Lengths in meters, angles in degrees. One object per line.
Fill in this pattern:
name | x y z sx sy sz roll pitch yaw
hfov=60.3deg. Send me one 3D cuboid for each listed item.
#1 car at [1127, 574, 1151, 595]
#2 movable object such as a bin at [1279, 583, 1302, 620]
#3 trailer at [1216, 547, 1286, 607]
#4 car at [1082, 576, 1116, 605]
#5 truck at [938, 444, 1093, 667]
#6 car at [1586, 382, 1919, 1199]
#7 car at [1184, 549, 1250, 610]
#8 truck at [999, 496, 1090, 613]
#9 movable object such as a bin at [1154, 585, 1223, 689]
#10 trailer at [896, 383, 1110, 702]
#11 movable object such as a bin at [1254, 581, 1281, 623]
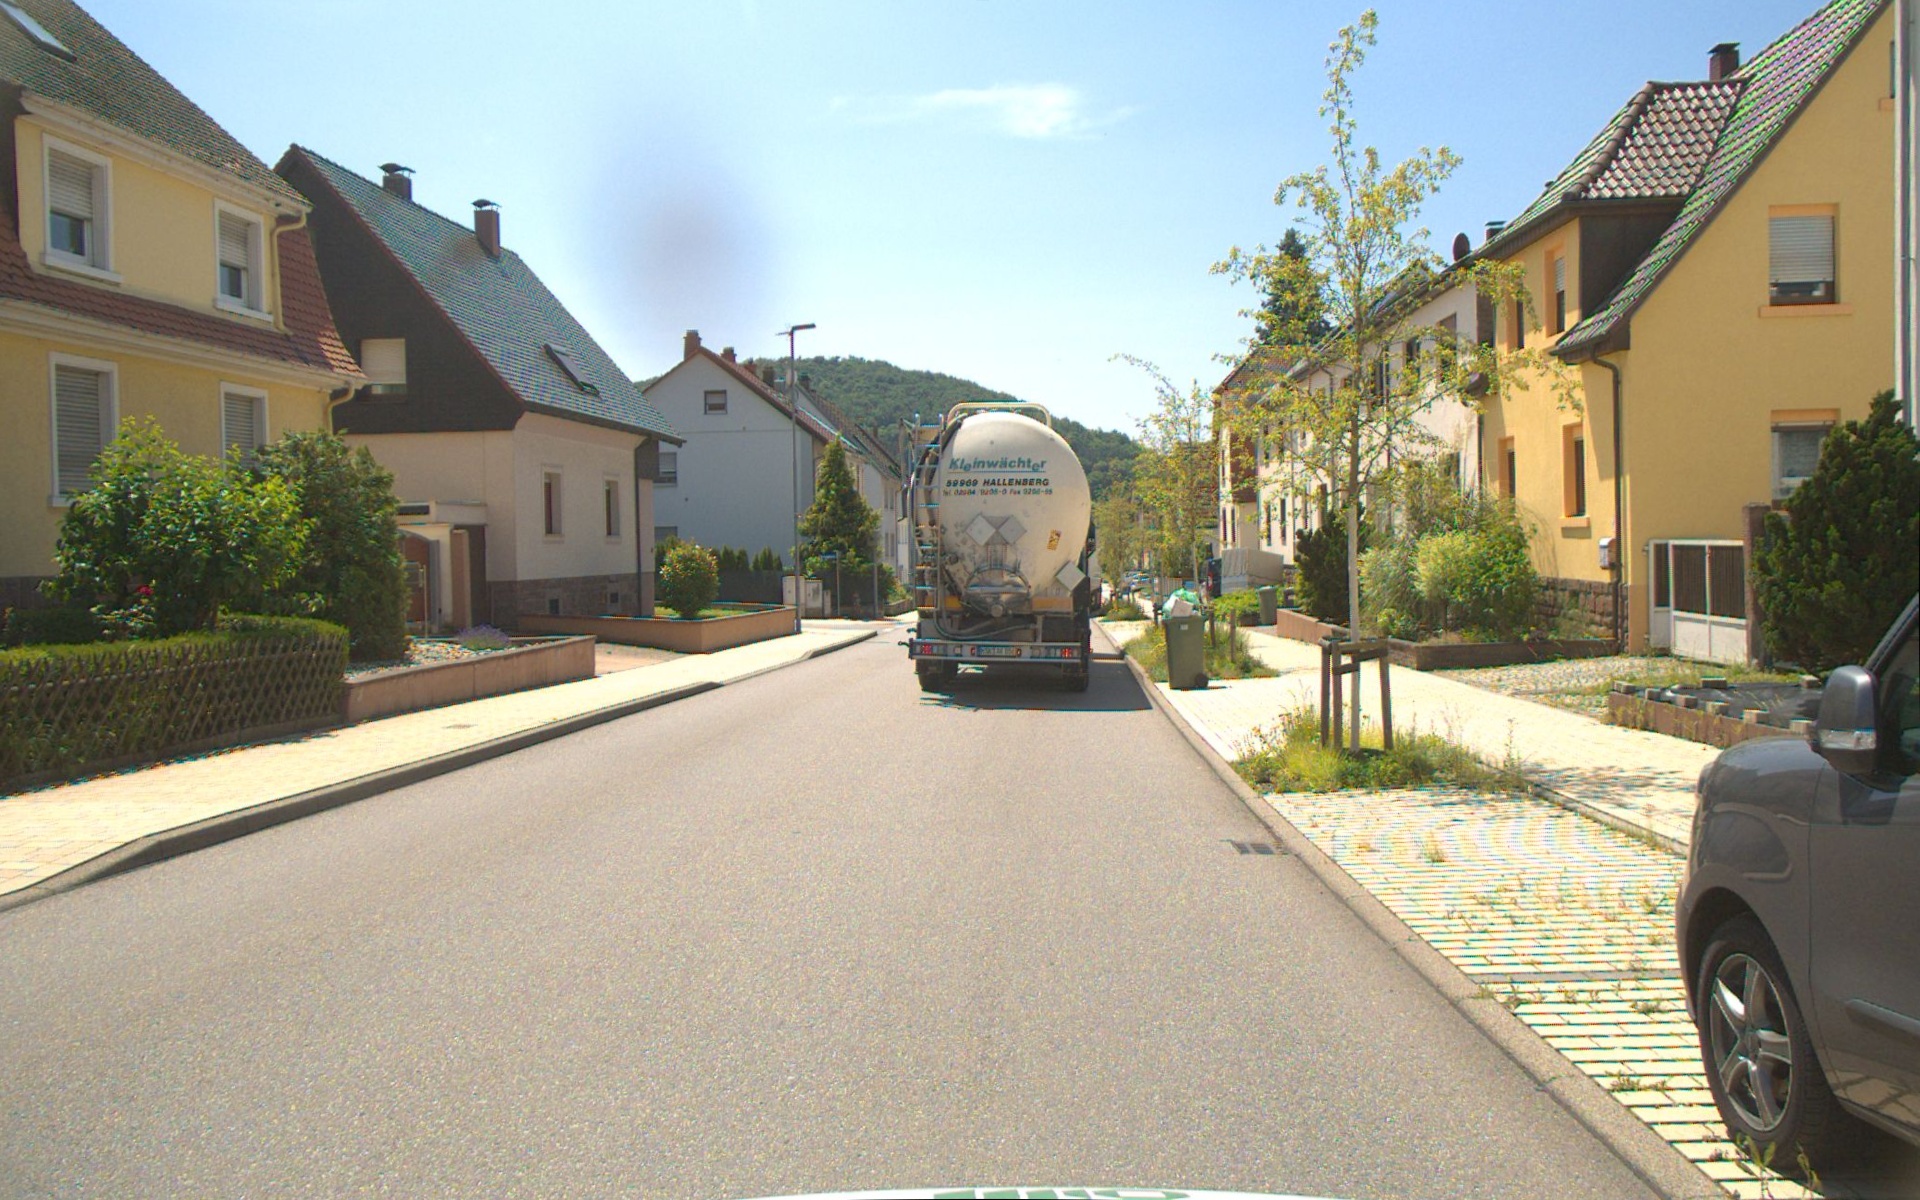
car | 14.118 -1.223 130.317 1.753 1.568 4.522 -2 0 5
movable object such as a bin | 9.546 0.041 47.824 0.546 1.003 0.803 -5 0 10
trailer | 10.034 -0.793 56.982 2.256 2.049 1.303 -1 1 -44
car | 8.974 -0.627 107.016 1.952 1.853 4.001 0 0 2
truck | 1.121 -0.863 32.875 2.750 4.005 6.101 0 1 2
car | 2.897 0.464 2.896 1.817 1.874 4.671 -2 1 0
car | 9.571 -0.761 61.969 1.814 2.004 4.776 -6 0 3
truck | 3.809 -2.057 77.087 3.829 4.981 9.798 -2 1 2
movable object such as a bin | 3.300 0.520 23.954 0.776 1.419 0.925 -5 0 1
trailer | 0.803 -0.830 26.376 2.738 4.070 10.328 0 1 3
movable object such as a bin | 8.861 0.051 47.740 0.669 1.134 0.813 -4 0 9
